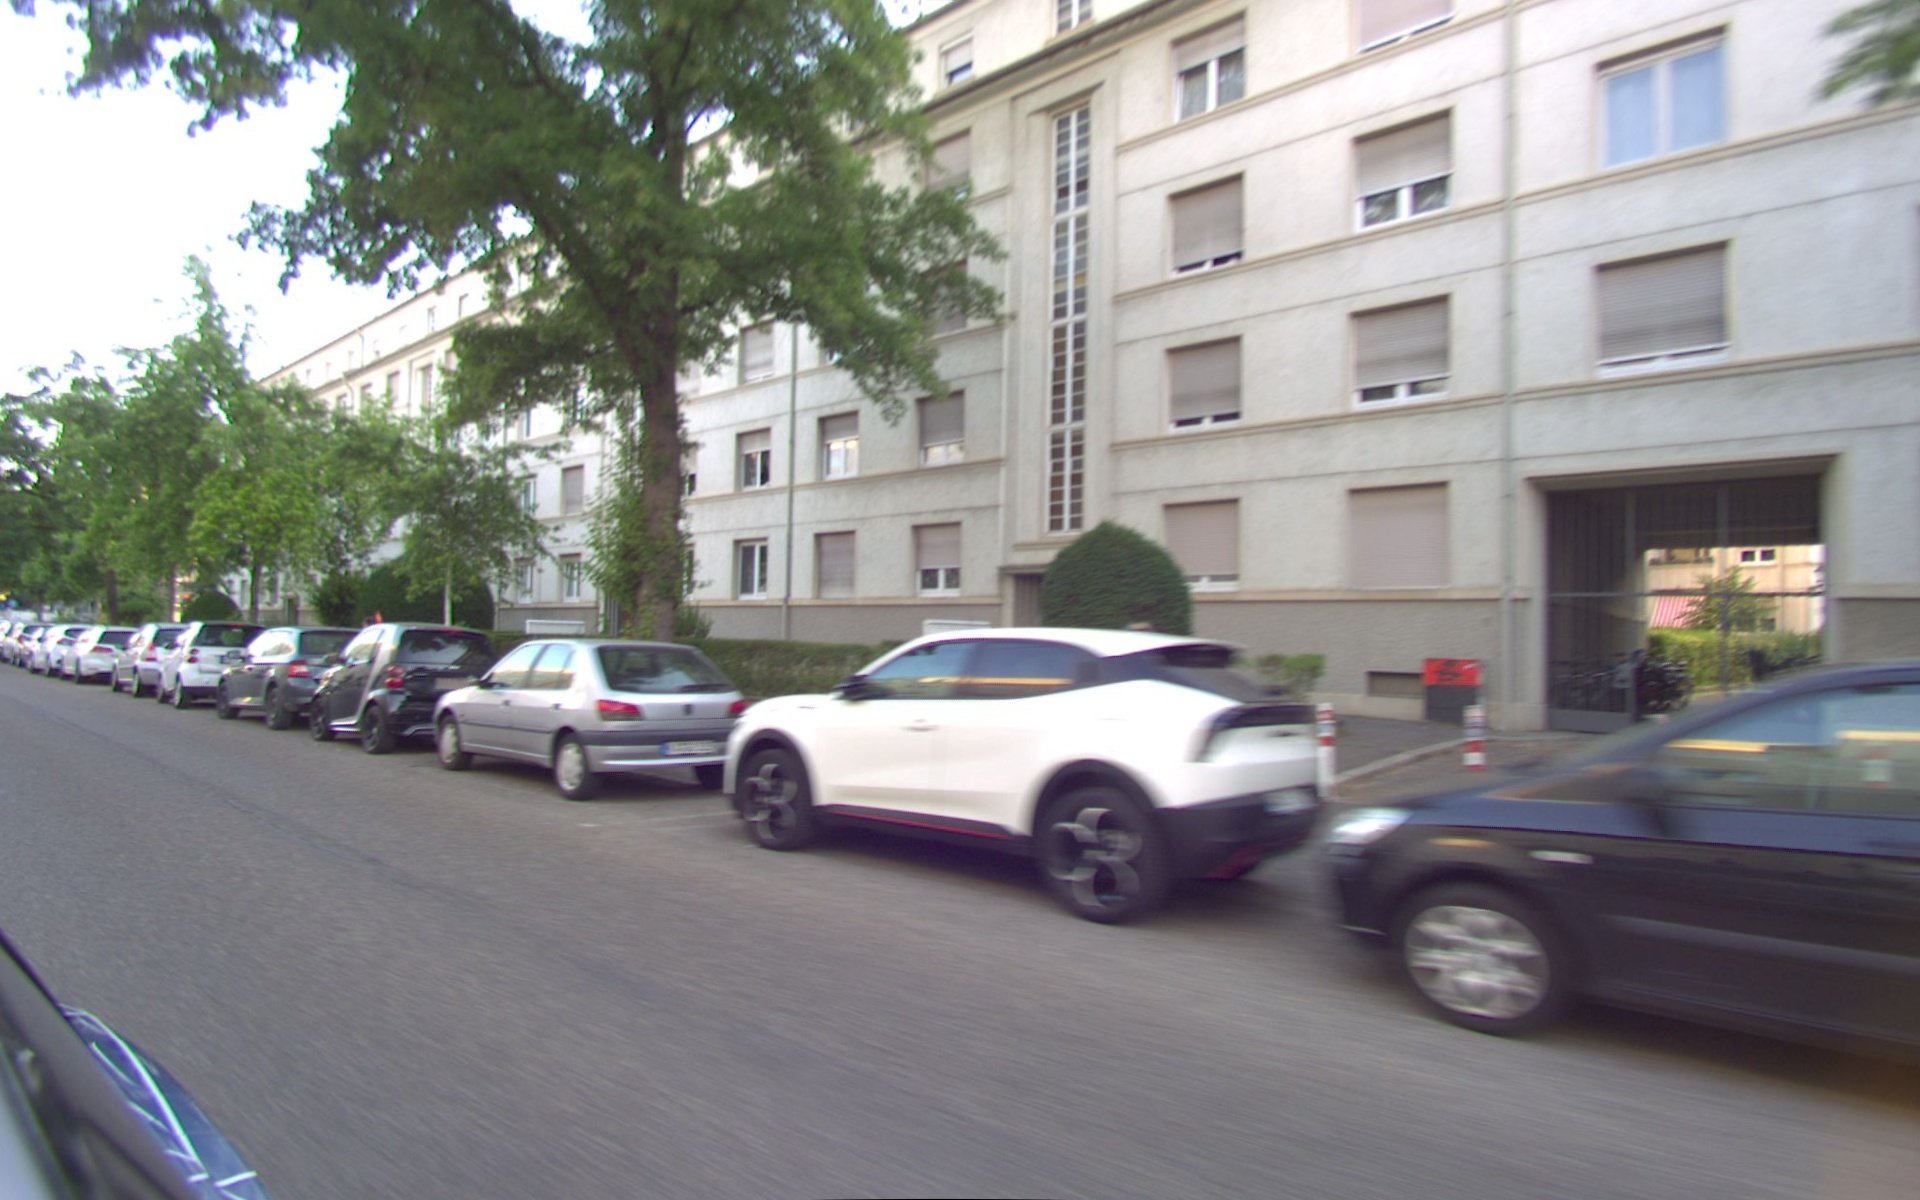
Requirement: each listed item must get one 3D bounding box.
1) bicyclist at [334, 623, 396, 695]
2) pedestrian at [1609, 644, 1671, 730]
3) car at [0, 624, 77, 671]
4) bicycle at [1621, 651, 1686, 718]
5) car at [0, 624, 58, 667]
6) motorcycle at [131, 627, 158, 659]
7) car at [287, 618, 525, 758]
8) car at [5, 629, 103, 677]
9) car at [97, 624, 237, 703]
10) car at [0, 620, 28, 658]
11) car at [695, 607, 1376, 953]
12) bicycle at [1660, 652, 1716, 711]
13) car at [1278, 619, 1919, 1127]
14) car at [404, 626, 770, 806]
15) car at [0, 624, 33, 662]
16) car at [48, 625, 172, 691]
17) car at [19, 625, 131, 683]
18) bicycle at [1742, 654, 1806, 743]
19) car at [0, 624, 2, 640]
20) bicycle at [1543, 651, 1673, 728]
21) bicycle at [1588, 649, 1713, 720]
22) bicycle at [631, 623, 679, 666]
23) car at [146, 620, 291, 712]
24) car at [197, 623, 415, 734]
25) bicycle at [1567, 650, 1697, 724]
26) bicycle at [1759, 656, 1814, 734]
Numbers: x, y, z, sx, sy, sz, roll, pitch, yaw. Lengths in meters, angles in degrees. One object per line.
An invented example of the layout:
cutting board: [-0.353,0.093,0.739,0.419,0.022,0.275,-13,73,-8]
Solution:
bicyclist: [-12.105,1.179,20.602,0.973,1.415,0.799,-1,-3,41]
pedestrian: [10.764,1.363,16.031,0.545,1.330,0.596,1,-2,-6]
car: [-32.538,1.646,35.484,3.701,1.471,1.658,-1,-6,39]
bicycle: [13.026,1.552,18.983,1.905,1.181,0.628,3,-3,-44]
car: [-36.268,1.717,38.819,4.675,1.491,1.734,-1,-6,40]
motorcycle: [-35.518,1.859,44.084,1.828,1.335,0.580,-1,-3,42]
car: [-7.078,1.066,12.851,3.162,1.540,1.507,-1,-6,40]
car: [-28.950,1.671,32.306,4.577,1.342,1.657,-1,-6,41]
car: [-17.045,1.328,21.695,3.798,1.516,1.573,-1,-6,41]
car: [-43.573,1.709,45.584,4.104,1.644,1.734,-1,-6,40]
car: [0.265,0.896,6.530,4.202,1.550,1.574,-1,-6,39]
bicycle: [15.273,1.680,21.213,1.905,1.181,0.628,3,-3,-44]
car: [3.339,0.866,3.608,3.842,1.463,1.689,-1,-6,42]
car: [-3.860,1.039,10.109,4.180,1.414,1.573,-1,-6,42]
car: [-40.292,1.752,42.390,3.944,1.491,1.733,-1,-6,43]
car: [-21.685,1.451,25.759,4.481,1.471,1.674,-1,-6,41]
car: [-25.276,1.518,28.856,4.141,1.471,1.675,-1,-6,40]
bicycle: [11.743,1.370,14.574,0.628,1.181,1.908,-1,-3,41]
car: [-47.772,1.812,48.929,4.224,1.483,1.733,-1,-6,43]
bicycle: [10.320,1.414,16.136,1.787,1.181,0.629,1,-2,-11]
bicycle: [11.990,1.457,17.590,1.789,1.181,0.629,1,-2,-6]
bicycle: [-9.184,1.318,30.415,1.817,1.240,0.550,-1,-3,44]
car: [-13.809,1.213,18.807,2.922,1.540,1.572,-1,-6,44]
car: [-10.162,1.161,15.611,4.098,1.477,1.574,-1,-6,40]
bicycle: [11.210,1.445,16.896,1.789,1.181,0.629,1,-2,-6]
bicycle: [13.553,1.516,16.584,0.628,1.181,1.908,-1,-3,41]
